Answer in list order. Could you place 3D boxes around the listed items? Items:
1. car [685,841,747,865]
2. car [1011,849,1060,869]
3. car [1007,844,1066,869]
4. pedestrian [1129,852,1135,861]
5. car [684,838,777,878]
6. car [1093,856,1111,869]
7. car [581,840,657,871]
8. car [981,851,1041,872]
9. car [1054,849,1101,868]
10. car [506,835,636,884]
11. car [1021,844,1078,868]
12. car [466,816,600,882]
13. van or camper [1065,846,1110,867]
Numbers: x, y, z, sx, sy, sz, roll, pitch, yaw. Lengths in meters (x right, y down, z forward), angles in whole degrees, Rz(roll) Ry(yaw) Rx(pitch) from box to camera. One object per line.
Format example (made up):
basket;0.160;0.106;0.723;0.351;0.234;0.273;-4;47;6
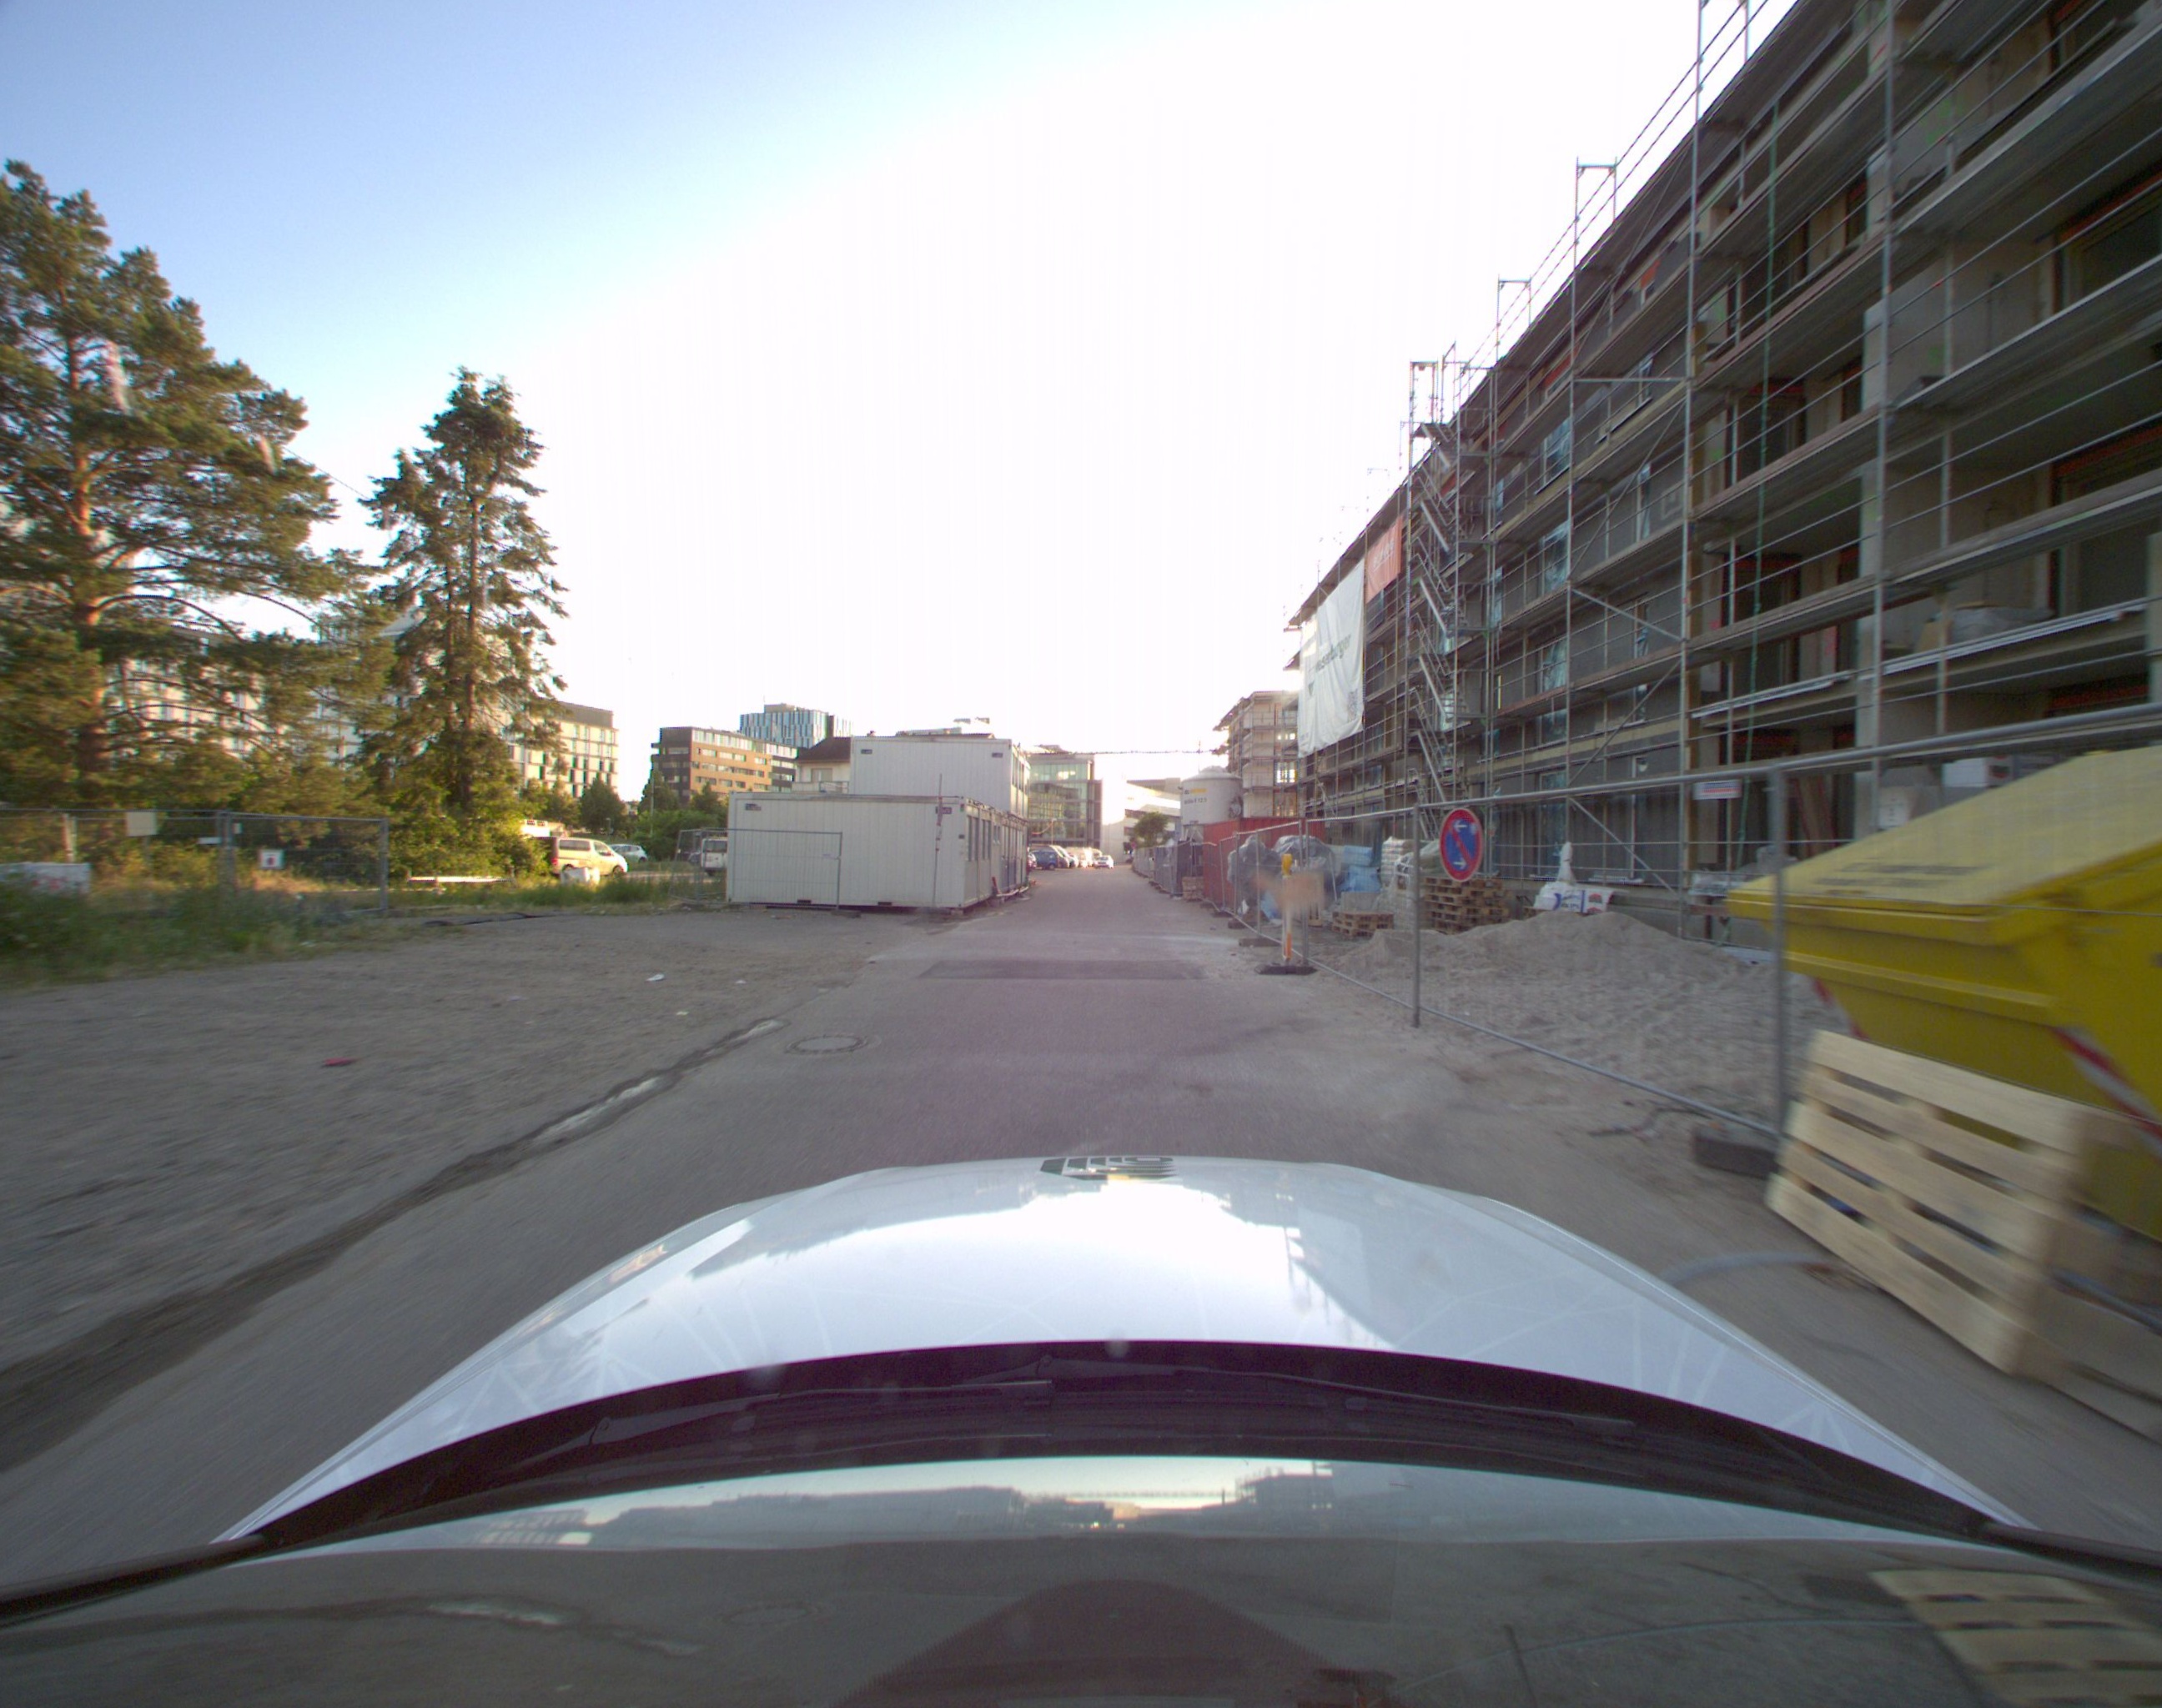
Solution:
car;-31.569;-0.078;70.655;2.293;2.014;5.074;1;0;12
car;-4.197;0.467;75.641;4.495;1.868;1.997;0;0;-4
car;-4.871;0.274;89.559;6.303;2.651;2.001;0;0;2
pedestrian;9.743;0.489;155.267;0.756;1.816;0.850;0;0;25
car;-19.211;0.221;44.922;2.294;2.014;5.070;1;0;9
car;2.569;1.023;98.387;1.654;1.529;3.921;0;0;10
car;-31.634;0.112;55.981;1.983;1.974;4.867;1;0;7
car;-5.742;0.593;67.215;4.475;1.648;2.006;0;0;10
car;-0.473;0.592;108.512;5.883;2.490;2.007;0;0;12
car;-22.015;0.245;35.455;1.981;1.974;4.872;1;0;10
car;-3.589;0.231;93.425;6.303;2.741;2.001;0;0;2
car;-23.989;-0.188;35.935;1.981;2.692;4.872;1;0;10
van or camper;0.933;0.359;122.490;6.288;2.979;2.301;1;-1;14
